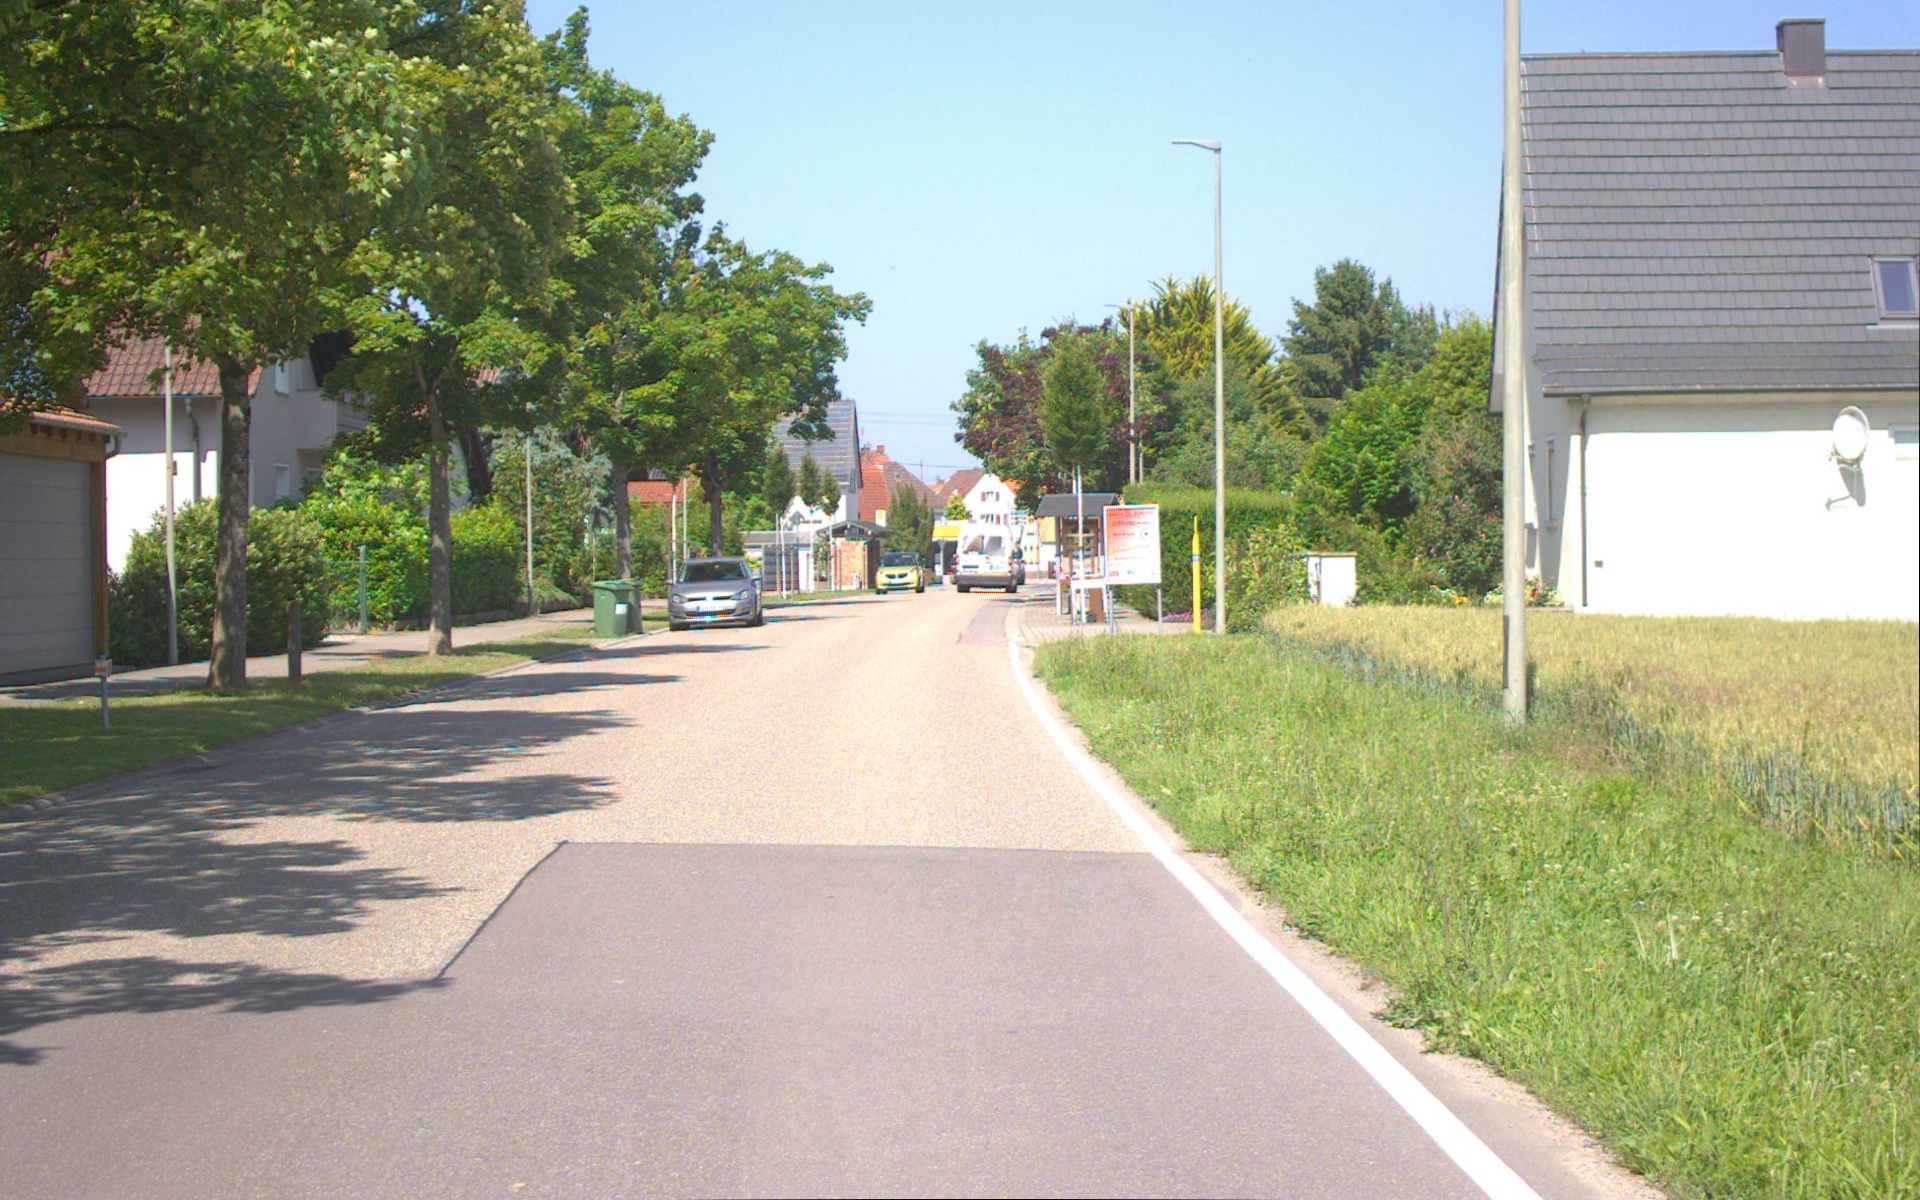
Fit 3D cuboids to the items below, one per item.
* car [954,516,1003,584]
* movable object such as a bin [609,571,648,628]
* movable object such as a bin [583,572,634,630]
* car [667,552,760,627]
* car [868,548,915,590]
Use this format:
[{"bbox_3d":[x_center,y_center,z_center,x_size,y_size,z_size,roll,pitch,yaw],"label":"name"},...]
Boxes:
[{"bbox_3d":[0.681,-1.811,124.924,1.737,2.424,4.374,-1,1,1],"label":"car"},{"bbox_3d":[-6.319,-0.017,65.522,0.575,1.075,0.598,-1,1,14],"label":"movable object such as a bin"},{"bbox_3d":[-6.618,0.021,64.780,0.714,1.075,0.639,0,1,26],"label":"movable object such as a bin"},{"bbox_3d":[-5.000,-0.230,70.140,1.647,1.419,4.081,-3,1,-1],"label":"car"},{"bbox_3d":[-2.580,-1.178,129.116,1.665,1.519,3.443,-2,1,-2],"label":"car"}]
